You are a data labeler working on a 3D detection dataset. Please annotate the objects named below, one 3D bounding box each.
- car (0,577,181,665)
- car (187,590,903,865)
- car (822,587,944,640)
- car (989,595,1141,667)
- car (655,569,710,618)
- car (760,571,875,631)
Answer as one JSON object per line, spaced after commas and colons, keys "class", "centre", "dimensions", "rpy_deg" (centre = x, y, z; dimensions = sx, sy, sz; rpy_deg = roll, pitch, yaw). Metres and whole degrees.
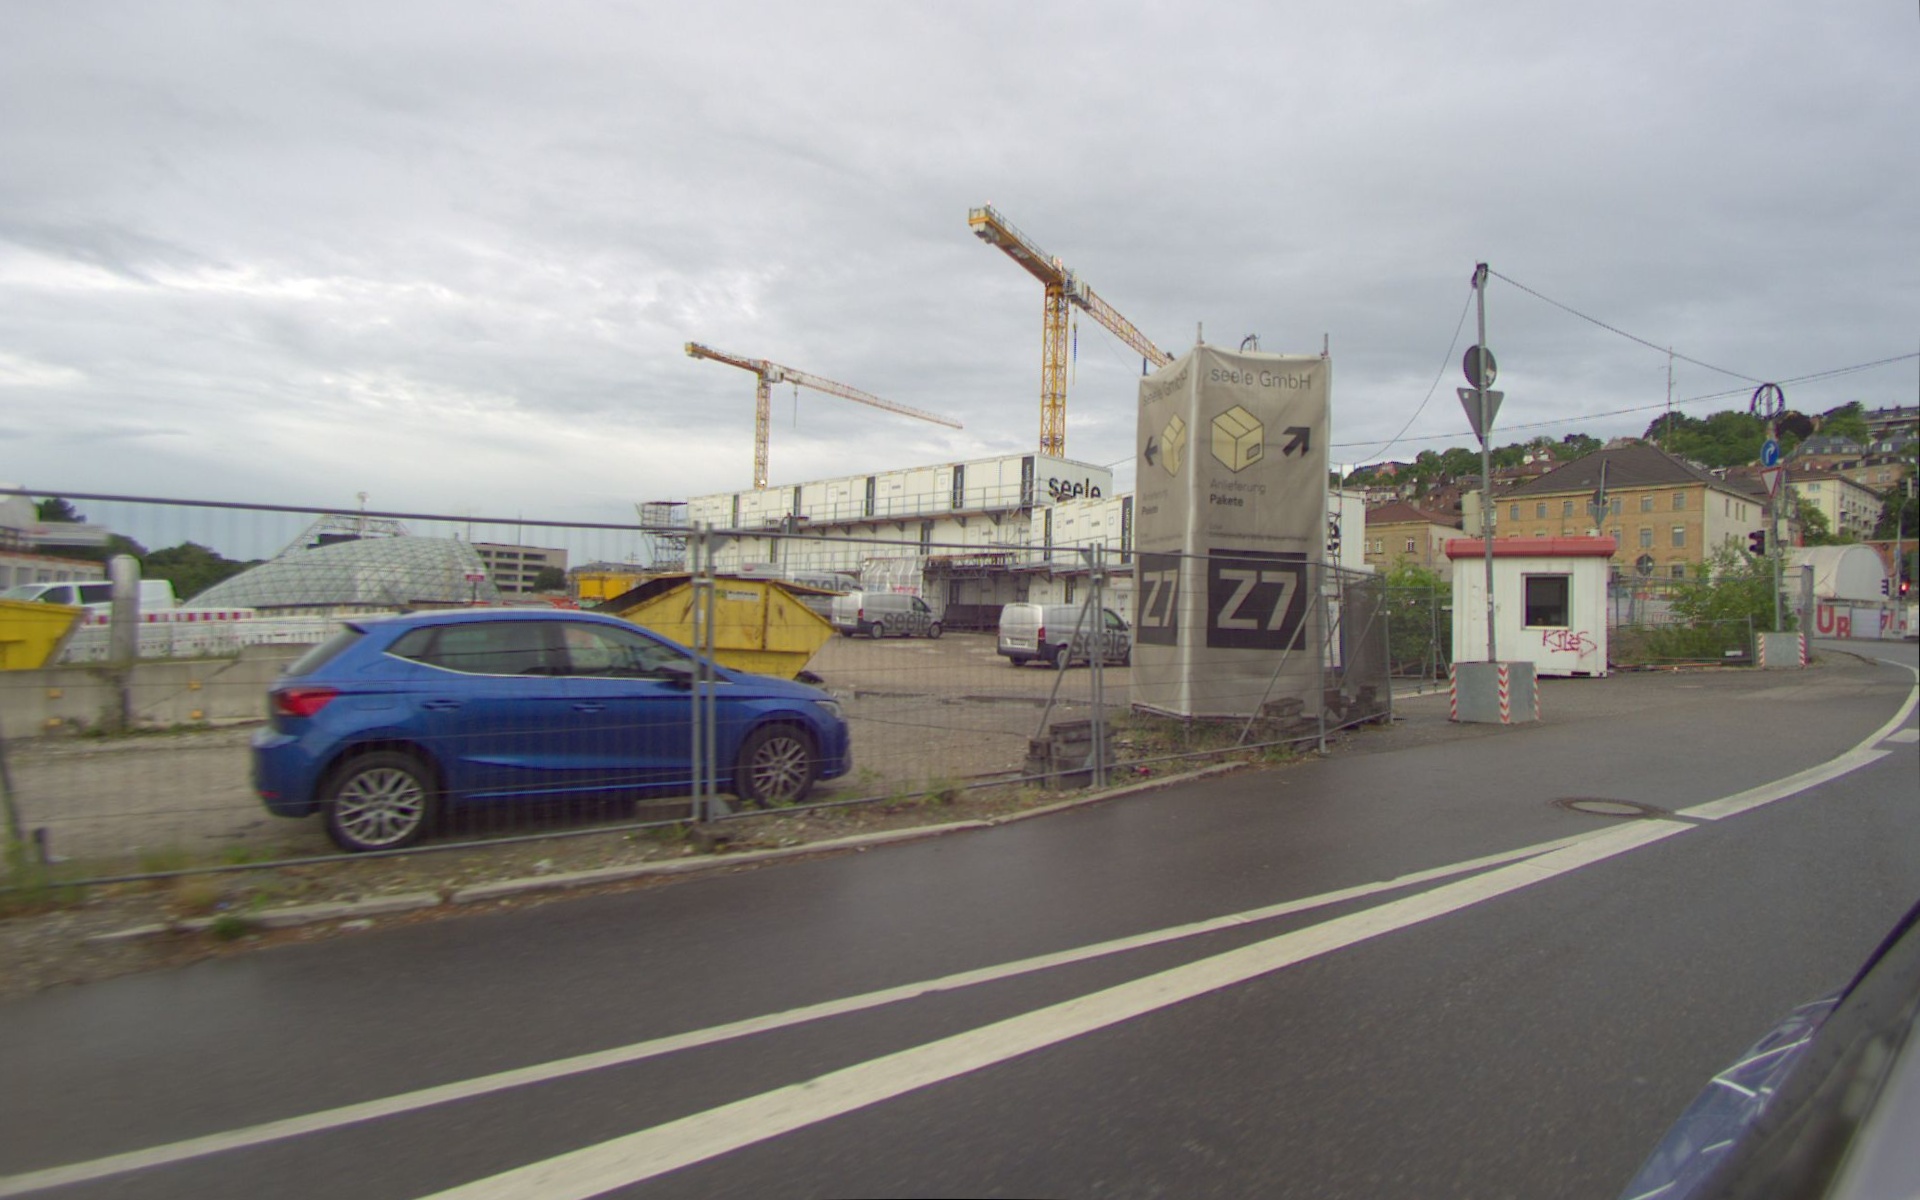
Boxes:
{"class": "car", "centre": [-26.754, 0.528, 30.417], "dimensions": [1.926, 2.306, 5.243], "rpy_deg": [2, 2, 13]}
{"class": "car", "centre": [-2.750, 0.712, 7.327], "dimensions": [4.326, 1.460, 1.839], "rpy_deg": [0, -2, -32]}
{"class": "car", "centre": [-3.021, 0.480, 40.768], "dimensions": [1.992, 1.910, 4.911], "rpy_deg": [4, 3, 40]}
{"class": "car", "centre": [3.199, 0.895, 30.308], "dimensions": [4.576, 1.925, 2.015], "rpy_deg": [1, 1, -44]}
{"class": "car", "centre": [-14.569, -0.387, 53.389], "dimensions": [2.107, 2.412, 4.409], "rpy_deg": [1, 1, -7]}
{"class": "car", "centre": [-6.236, 0.024, 44.768], "dimensions": [1.991, 2.472, 4.911], "rpy_deg": [2, 2, 40]}
